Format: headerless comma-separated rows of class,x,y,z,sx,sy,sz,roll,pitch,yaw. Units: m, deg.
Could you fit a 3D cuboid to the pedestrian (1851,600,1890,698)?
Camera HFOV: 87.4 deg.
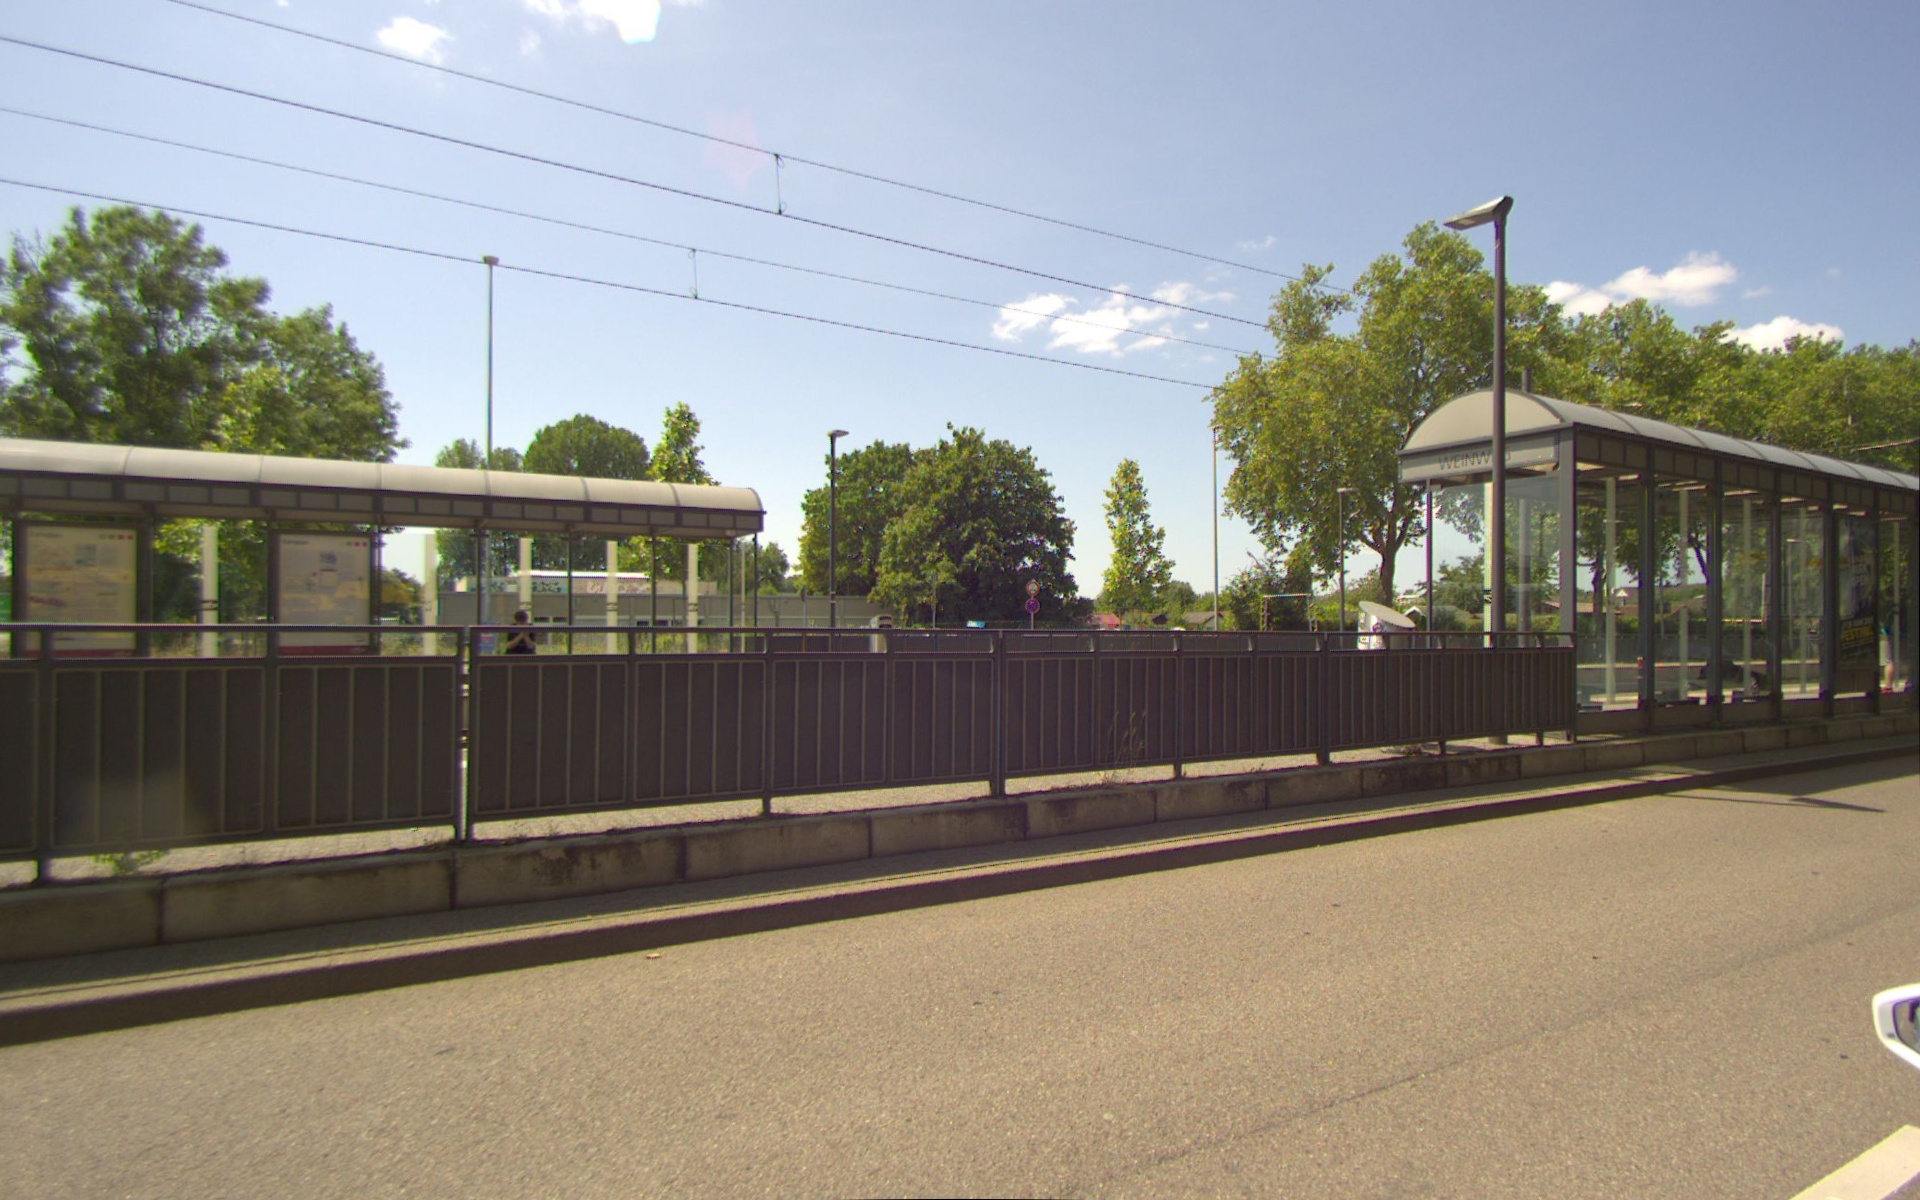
pedestrian,14.469,0.765,15.967,0.412,1.528,0.394,0,-1,37

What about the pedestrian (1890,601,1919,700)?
pedestrian,14.860,0.777,15.704,0.412,1.528,0.394,0,-1,37

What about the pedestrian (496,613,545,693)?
pedestrian,-6.751,0.804,15.440,0.631,1.206,0.574,1,-1,-29
